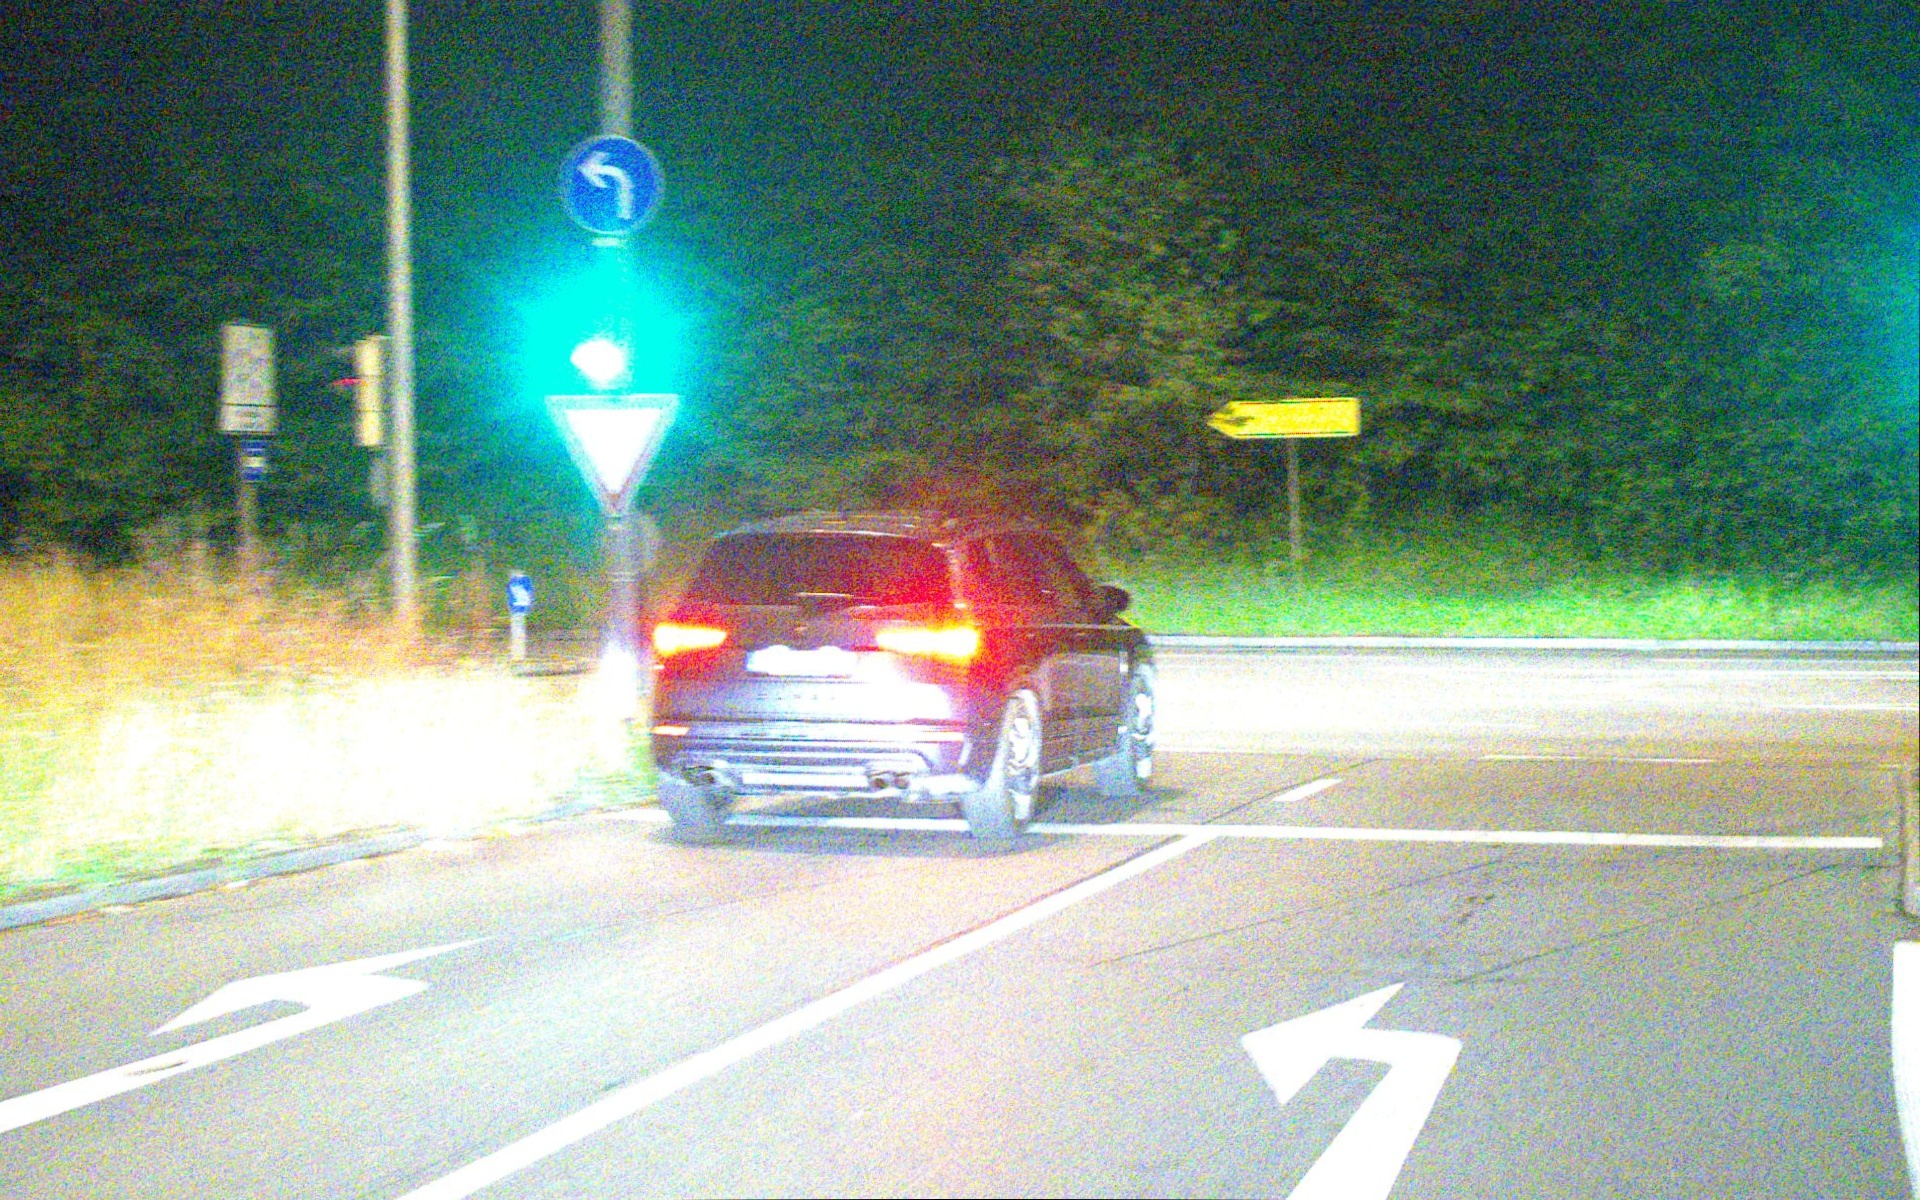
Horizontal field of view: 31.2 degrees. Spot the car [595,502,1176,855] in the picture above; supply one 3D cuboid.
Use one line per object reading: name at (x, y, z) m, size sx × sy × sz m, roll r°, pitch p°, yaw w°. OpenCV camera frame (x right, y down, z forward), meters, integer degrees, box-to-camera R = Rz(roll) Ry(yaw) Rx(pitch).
car at (-0.248, 0.308, 17.842) m, size 1.853 × 1.577 × 4.004 m, roll 2°, pitch 2°, yaw 17°
